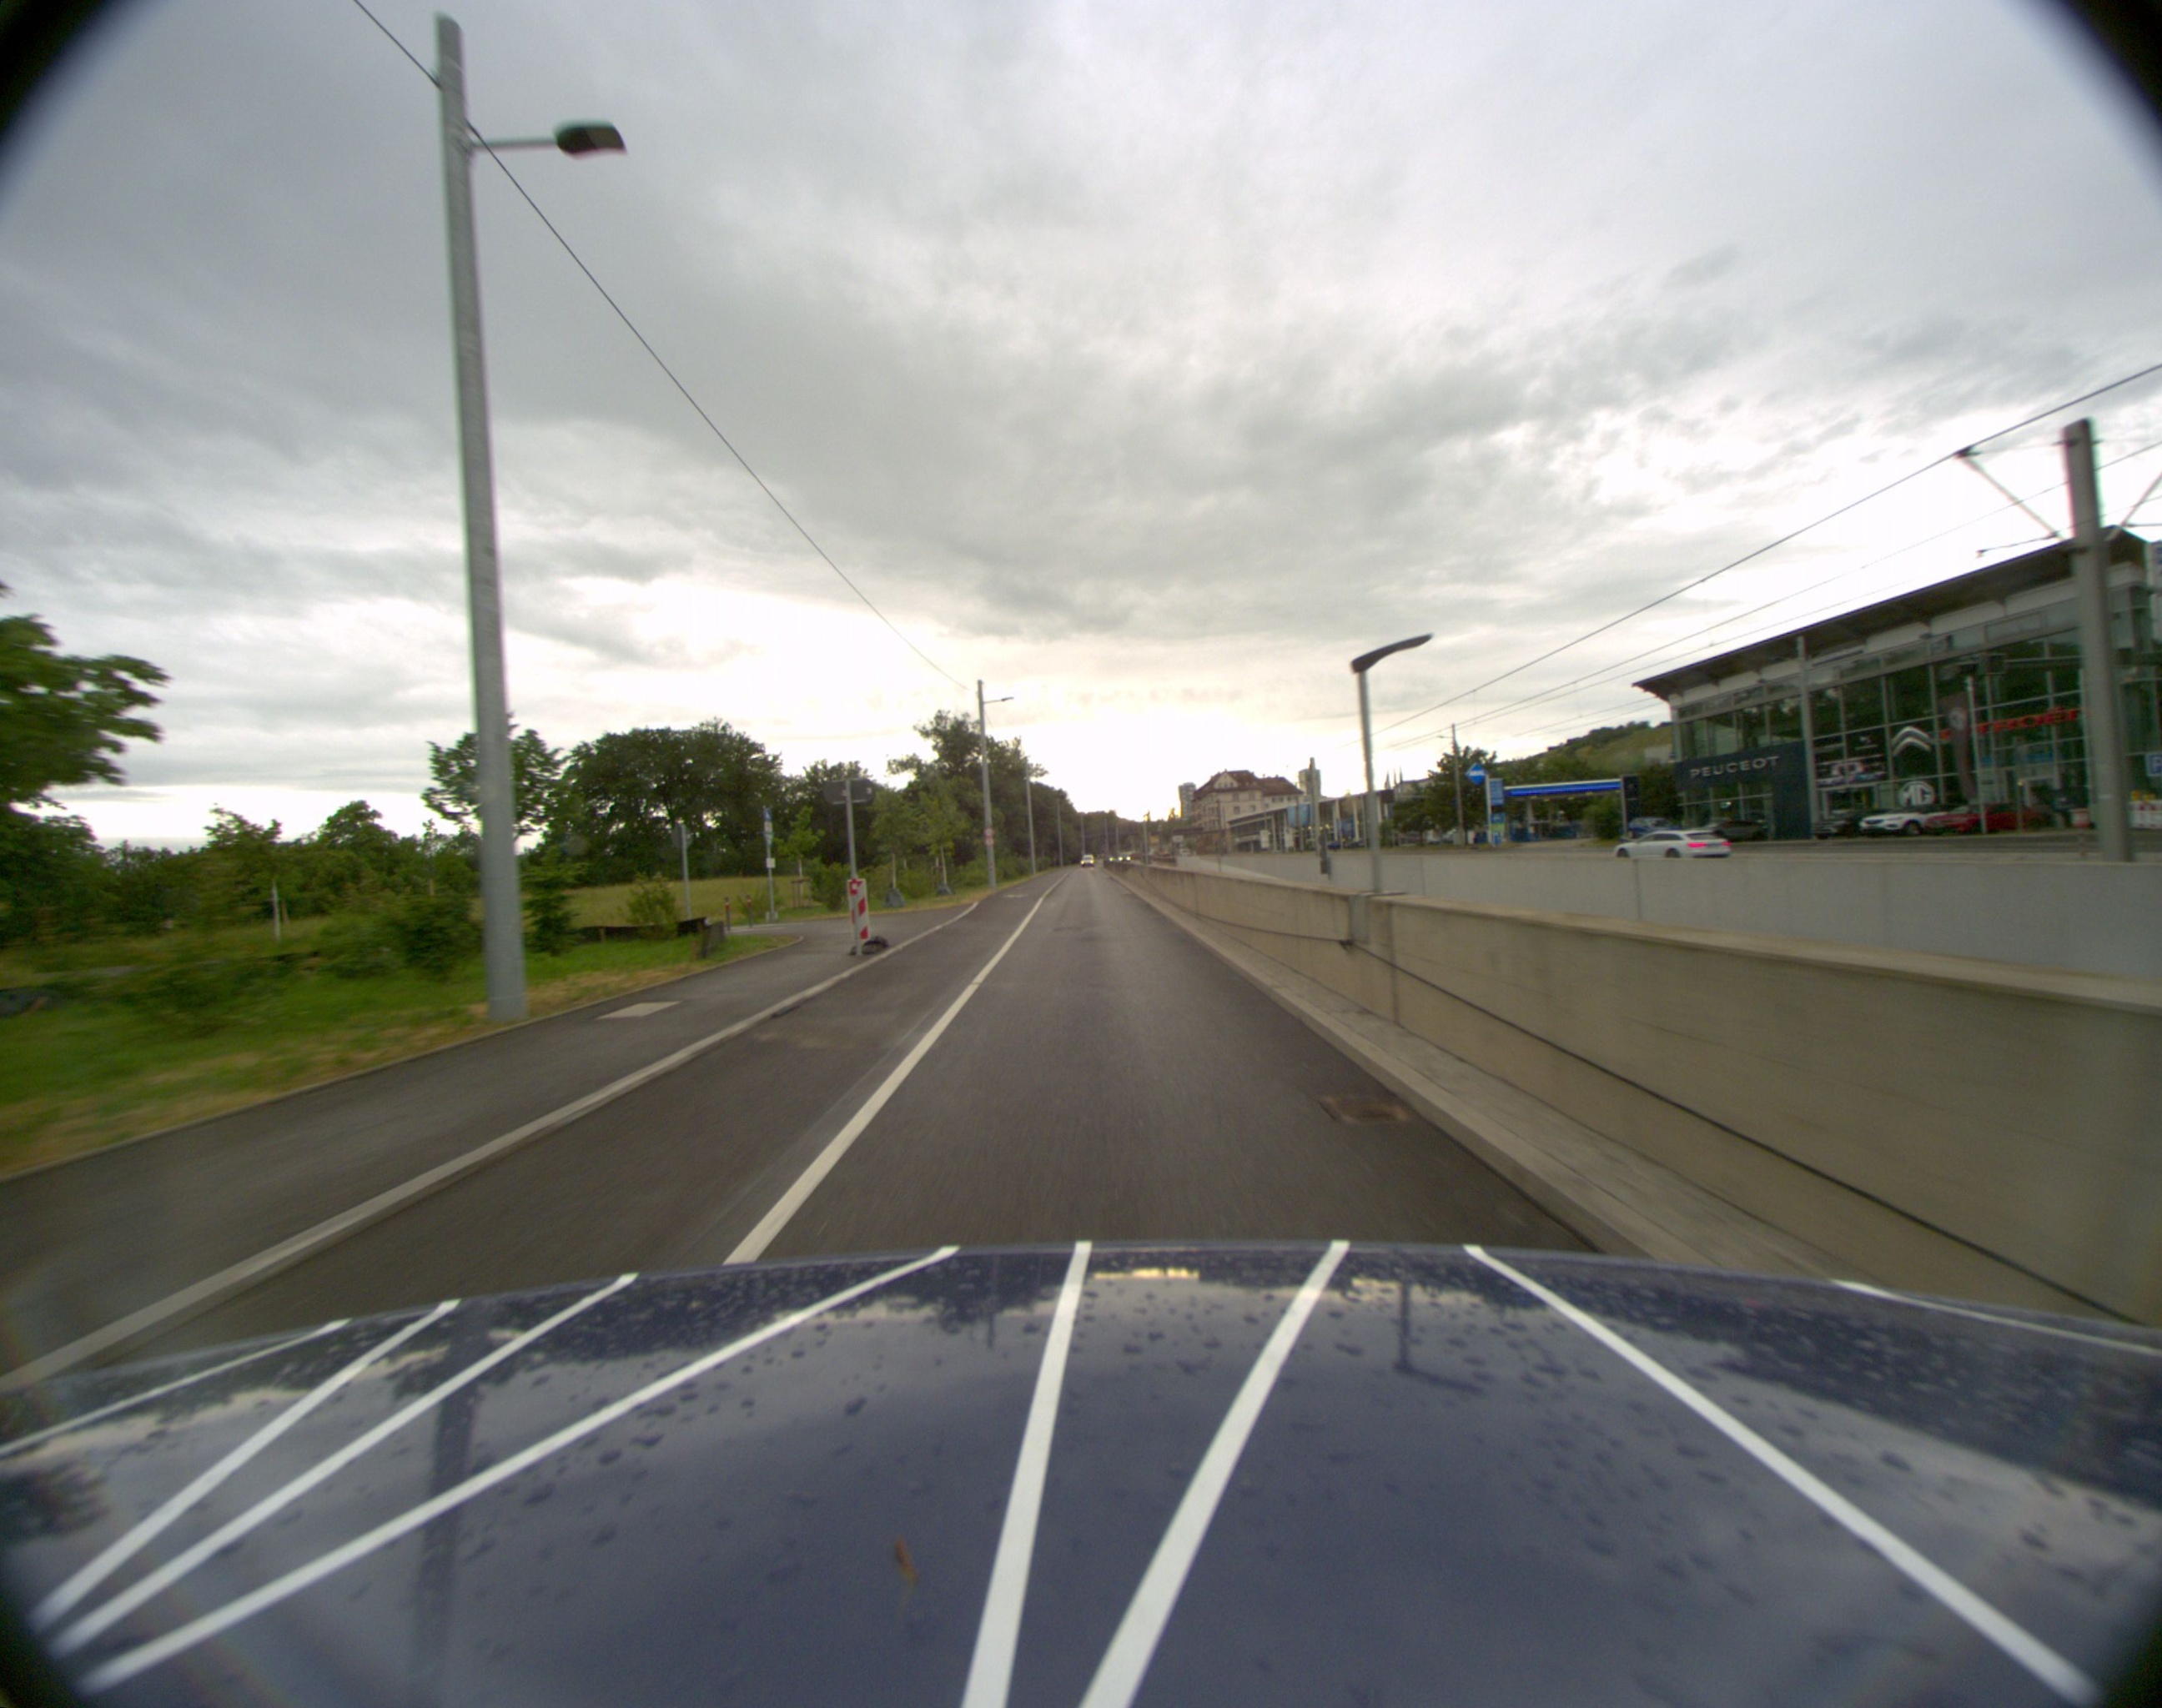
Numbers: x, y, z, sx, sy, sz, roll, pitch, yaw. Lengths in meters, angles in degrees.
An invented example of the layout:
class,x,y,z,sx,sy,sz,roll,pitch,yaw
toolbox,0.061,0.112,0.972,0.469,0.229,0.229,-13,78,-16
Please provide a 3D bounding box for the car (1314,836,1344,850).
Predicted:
class,x,y,z,sx,sy,sz,roll,pitch,yaw
car,39.000,-1.736,119.531,3.997,2.002,2.000,-3,0,1

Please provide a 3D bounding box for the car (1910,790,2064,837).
class,x,y,z,sx,sy,sz,roll,pitch,yaw
car,41.036,-1.820,34.493,4.577,1.750,2.000,-3,0,0

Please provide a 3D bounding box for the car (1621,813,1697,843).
class,x,y,z,sx,sy,sz,roll,pitch,yaw
car,39.458,-1.742,51.999,1.999,1.761,3.999,-3,0,-2

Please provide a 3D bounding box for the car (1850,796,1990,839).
class,x,y,z,sx,sy,sz,roll,pitch,yaw
car,40.613,-1.734,36.865,4.577,1.750,2.000,-3,0,0

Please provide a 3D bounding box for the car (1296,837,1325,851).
class,x,y,z,sx,sy,sz,roll,pitch,yaw
car,36.984,-1.676,122.385,3.997,2.002,2.000,-3,0,1

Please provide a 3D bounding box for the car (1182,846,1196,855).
class,x,y,z,sx,sy,sz,roll,pitch,yaw
car,23.947,-0.754,168.642,2.271,2.002,4.000,-3,0,0

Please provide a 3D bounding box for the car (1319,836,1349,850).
class,x,y,z,sx,sy,sz,roll,pitch,yaw
car,38.943,-1.684,117.053,3.997,2.002,2.000,-3,0,1

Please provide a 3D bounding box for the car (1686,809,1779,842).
class,x,y,z,sx,sy,sz,roll,pitch,yaw
car,40.471,-1.755,47.242,3.997,1.761,2.000,-3,0,0

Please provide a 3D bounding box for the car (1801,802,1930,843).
class,x,y,z,sx,sy,sz,roll,pitch,yaw
car,40.597,-1.596,39.399,4.577,1.750,2.000,-3,0,0

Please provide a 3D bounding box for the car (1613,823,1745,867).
class,x,y,z,sx,sy,sz,roll,pitch,yaw
car,26.387,-0.386,33.781,2.119,1.706,4.579,-3,0,-2

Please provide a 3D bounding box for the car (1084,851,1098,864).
class,x,y,z,sx,sy,sz,roll,pitch,yaw
car,1.483,0.523,115.704,1.998,2.002,4.000,-2,0,0
